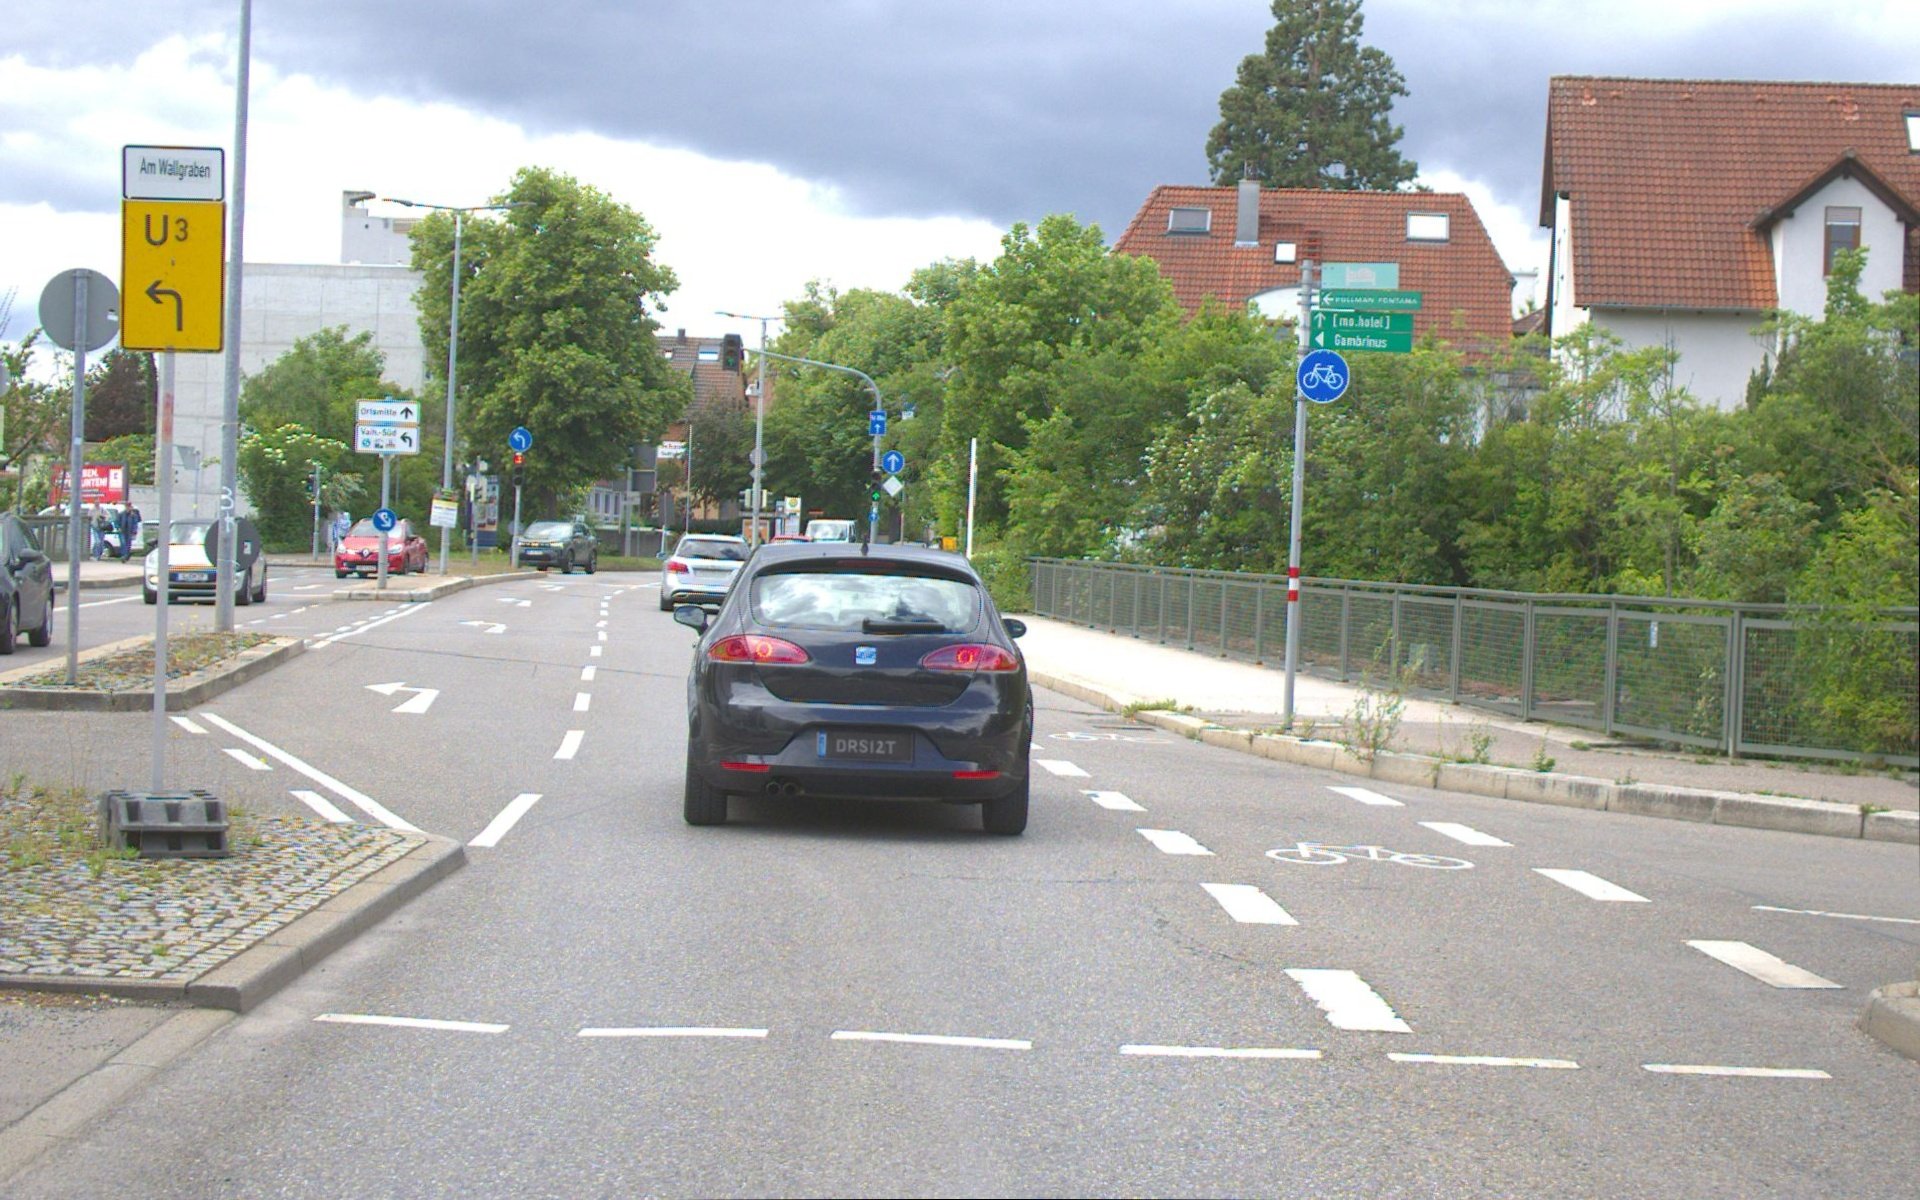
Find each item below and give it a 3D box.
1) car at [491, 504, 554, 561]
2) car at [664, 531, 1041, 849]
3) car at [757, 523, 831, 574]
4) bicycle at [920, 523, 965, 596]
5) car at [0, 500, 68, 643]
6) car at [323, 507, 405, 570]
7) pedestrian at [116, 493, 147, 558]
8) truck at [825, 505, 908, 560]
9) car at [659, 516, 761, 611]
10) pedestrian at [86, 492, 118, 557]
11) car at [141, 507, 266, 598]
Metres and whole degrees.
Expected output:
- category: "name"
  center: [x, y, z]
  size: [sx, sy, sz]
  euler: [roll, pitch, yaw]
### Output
- category: "car"
  center: [-13.341, -2.057, 104.934]
  size: [1.822, 1.621, 4.280]
  euler: [2, 1, -7]
- category: "car"
  center: [-0.565, 0.393, 18.241]
  size: [1.759, 1.444, 3.715]
  euler: [2, 1, -2]
- category: "car"
  center: [-5.194, -1.630, 106.925]
  size: [1.941, 1.476, 4.254]
  euler: [1, 1, -7]
- category: "bicycle"
  center: [-0.360, -0.874, 73.357]
  size: [0.891, 1.505, 2.783]
  euler: [2, 1, 0]
- category: "car"
  center: [-10.269, -0.326, 35.158]
  size: [1.720, 1.386, 3.919]
  euler: [0, 1, -7]
- category: "car"
  center: [-14.659, -1.530, 84.704]
  size: [1.720, 1.443, 4.068]
  euler: [3, 1, -7]
- category: "pedestrian"
  center: [-21.283, -1.922, 88.331]
  size: [0.656, 1.628, 1.071]
  euler: [3, 1, -11]
- category: "truck"
  center: [-4.003, -2.896, 148.765]
  size: [2.126, 2.257, 6.803]
  euler: [2, 1, 10]
- category: "car"
  center: [-4.706, -0.719, 65.042]
  size: [1.818, 1.693, 4.254]
  euler: [2, 1, -4]
- category: "pedestrian"
  center: [-22.028, -1.949, 88.274]
  size: [0.656, 1.628, 0.833]
  euler: [3, 1, -11]
- category: "car"
  center: [-12.688, -0.818, 57.821]
  size: [1.642, 1.404, 3.820]
  euler: [3, 1, -7]
